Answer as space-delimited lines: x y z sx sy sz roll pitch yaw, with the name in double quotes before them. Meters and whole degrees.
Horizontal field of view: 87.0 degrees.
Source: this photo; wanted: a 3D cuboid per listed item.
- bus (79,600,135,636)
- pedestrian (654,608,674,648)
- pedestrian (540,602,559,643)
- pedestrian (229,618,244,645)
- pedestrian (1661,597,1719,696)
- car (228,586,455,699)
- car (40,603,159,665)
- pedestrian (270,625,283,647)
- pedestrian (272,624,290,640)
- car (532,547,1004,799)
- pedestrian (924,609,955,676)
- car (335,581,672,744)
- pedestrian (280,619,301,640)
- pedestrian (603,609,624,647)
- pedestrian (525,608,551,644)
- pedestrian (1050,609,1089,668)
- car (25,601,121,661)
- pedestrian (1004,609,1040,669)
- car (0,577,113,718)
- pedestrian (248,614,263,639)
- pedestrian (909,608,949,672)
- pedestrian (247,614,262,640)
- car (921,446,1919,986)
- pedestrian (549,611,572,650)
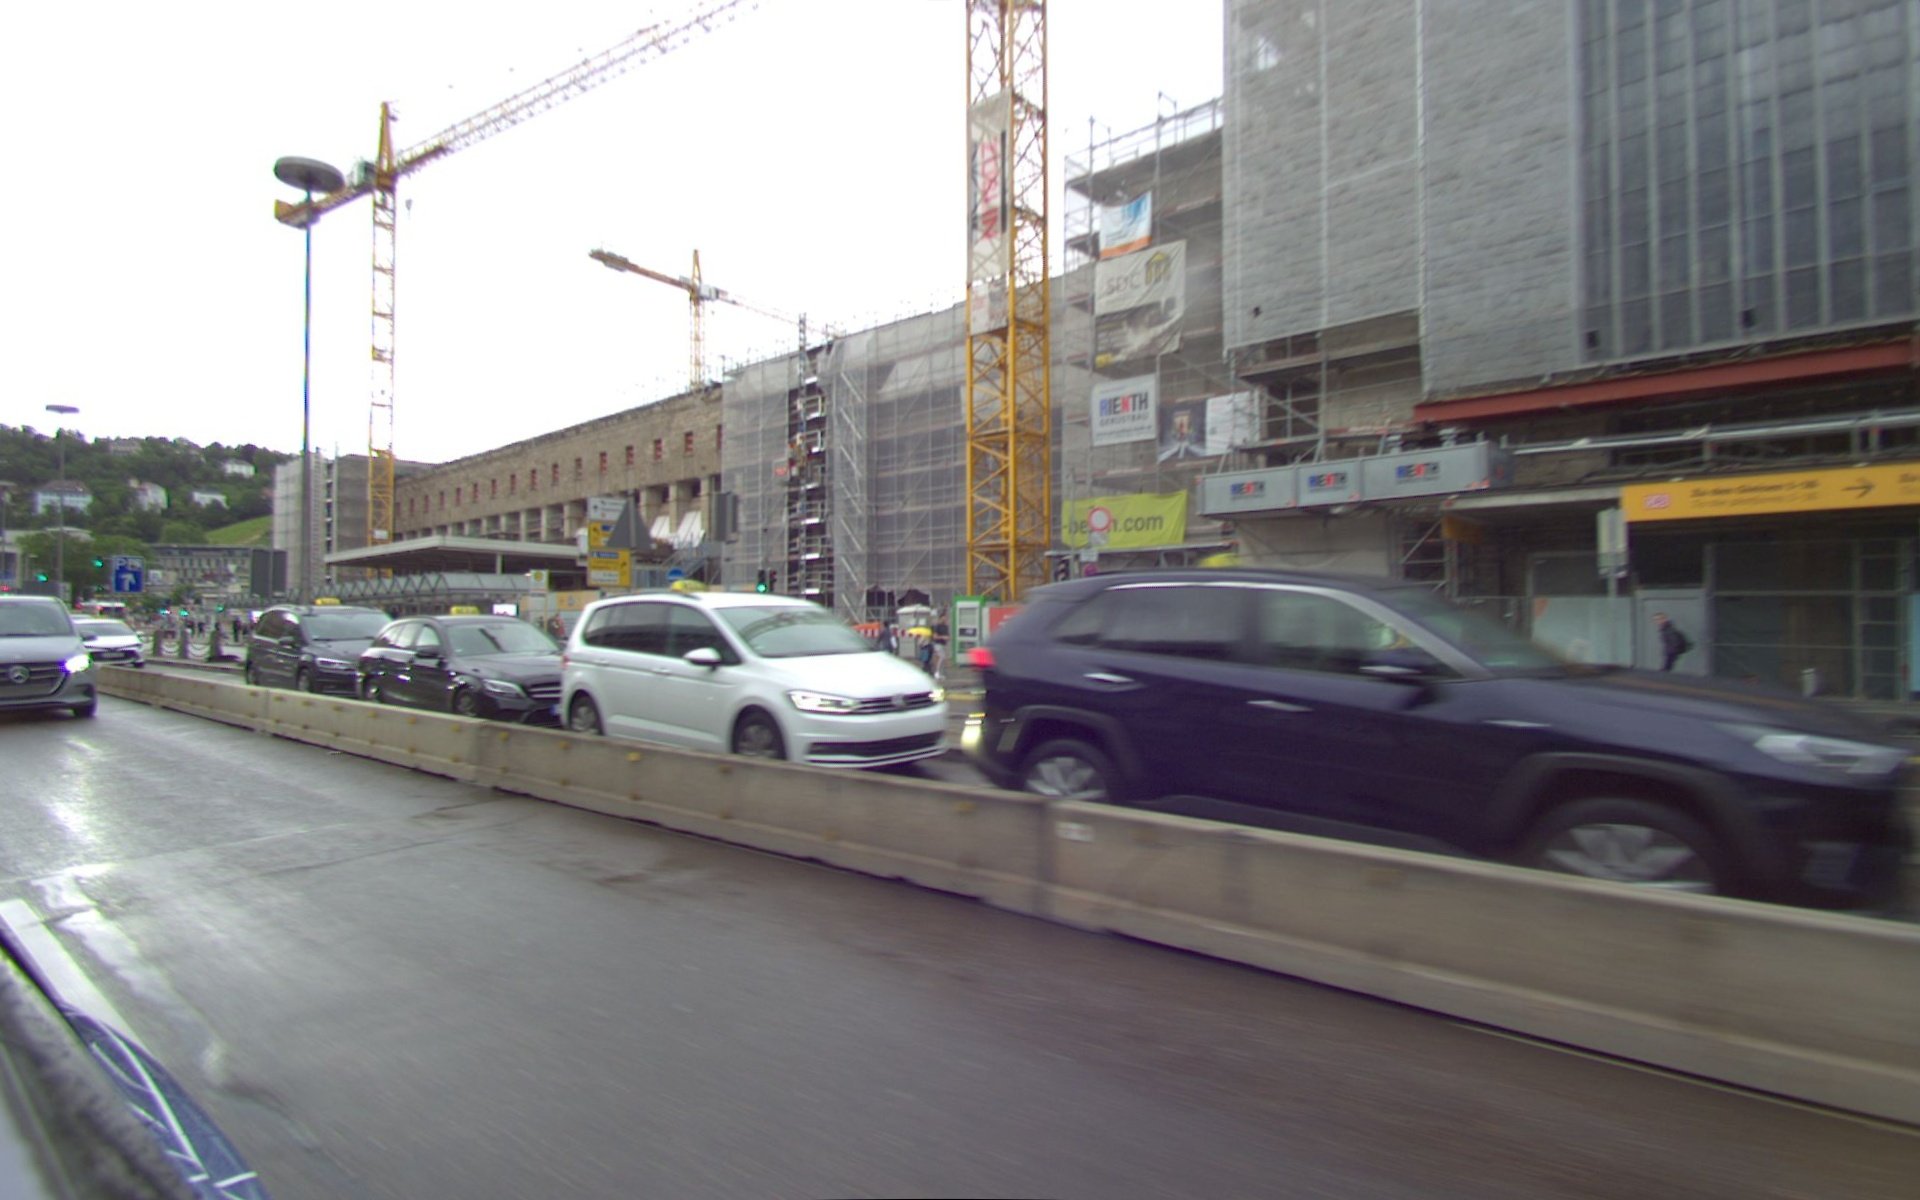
"bus" -91.053 1.881 107.835 2.876 3.605 19.087 2 -2 -45
"pedestrian" -13.722 1.295 46.909 0.713 1.855 0.612 0 -1 -44
"pedestrian" -18.796 1.006 46.357 0.734 1.855 0.704 0 -1 -28
"pedestrian" -54.536 2.375 76.243 0.822 1.973 0.751 0 0 40
"pedestrian" 14.032 0.881 19.459 0.529 1.855 0.773 0 -1 -39
"car" -10.614 0.661 17.232 4.639 1.666 1.973 -1 -1 41
"car" -25.841 0.982 30.330 4.829 1.719 1.973 -1 -1 41
"pedestrian" -50.498 2.654 74.789 0.803 1.642 0.551 -1 -1 34
"pedestrian" -48.403 2.299 72.167 0.925 1.101 0.835 -1 -1 41
"car" -1.942 0.551 9.441 4.450 1.800 1.973 -1 -1 40
"pedestrian" -0.590 1.199 28.582 0.703 1.855 0.503 -1 -1 36
"car" -6.056 0.696 13.108 5.052 1.724 2.028 -1 -1 41
"pedestrian" -46.875 2.029 70.856 0.830 1.443 1.044 -1 -1 41
"pedestrian" -16.979 1.367 49.581 0.733 1.855 0.657 0 -1 -44
"pedestrian" -22.383 1.362 53.651 1.045 1.855 0.848 -1 1 42
"pedestrian" 3.078 1.060 28.521 0.839 1.626 0.669 -1 -1 44
"car" -29.753 0.996 33.888 4.833 1.876 1.971 -1 -1 44
"pedestrian" 1.798 1.125 29.295 0.835 1.698 0.677 -1 -1 28
"car" -15.022 0.676 15.755 5.247 1.918 1.973 -1 1 41
"pedestrian" -51.557 1.950 74.038 0.746 1.804 0.717 -1 -1 37
"pedestrian" -0.910 1.164 29.912 0.835 1.855 0.869 -1 -1 28
"pedestrian" -50.015 1.908 71.747 0.765 1.804 0.862 0 -1 -41
"car" 2.218 0.418 5.543 4.845 1.800 1.973 -1 -1 41
"pedestrian" -20.590 1.556 52.134 0.863 1.954 0.735 -1 1 39
